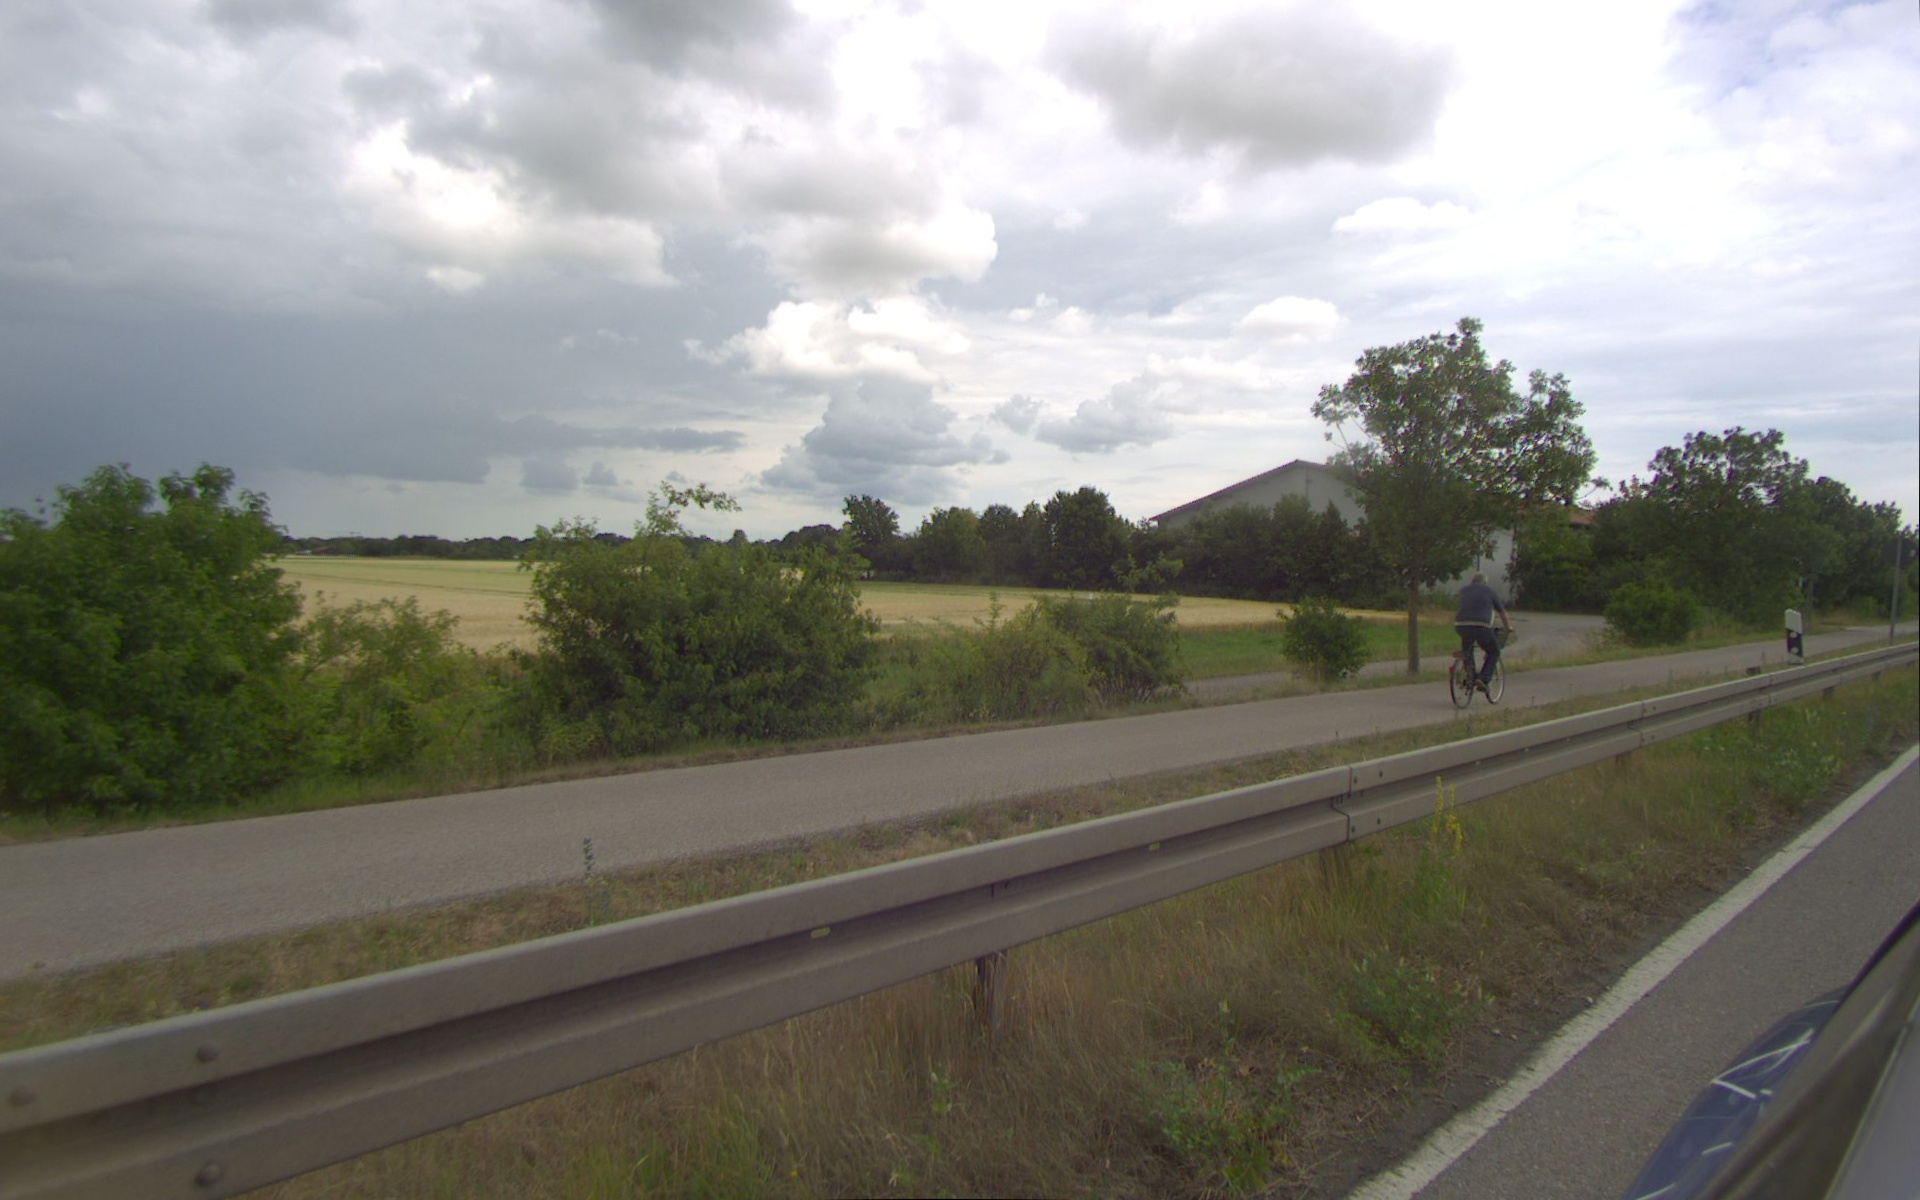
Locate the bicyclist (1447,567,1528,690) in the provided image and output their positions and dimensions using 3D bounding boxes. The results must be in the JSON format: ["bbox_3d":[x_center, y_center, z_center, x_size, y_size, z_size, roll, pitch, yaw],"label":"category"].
[{"bbox_3d":[7.138,0.361,13.689,0.952,1.602,0.640,0,1,-41],"label":"bicyclist"}]

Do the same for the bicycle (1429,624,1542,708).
[{"bbox_3d":[7.143,0.854,13.711,2.036,0.990,0.640,0,2,-41],"label":"bicycle"}]
